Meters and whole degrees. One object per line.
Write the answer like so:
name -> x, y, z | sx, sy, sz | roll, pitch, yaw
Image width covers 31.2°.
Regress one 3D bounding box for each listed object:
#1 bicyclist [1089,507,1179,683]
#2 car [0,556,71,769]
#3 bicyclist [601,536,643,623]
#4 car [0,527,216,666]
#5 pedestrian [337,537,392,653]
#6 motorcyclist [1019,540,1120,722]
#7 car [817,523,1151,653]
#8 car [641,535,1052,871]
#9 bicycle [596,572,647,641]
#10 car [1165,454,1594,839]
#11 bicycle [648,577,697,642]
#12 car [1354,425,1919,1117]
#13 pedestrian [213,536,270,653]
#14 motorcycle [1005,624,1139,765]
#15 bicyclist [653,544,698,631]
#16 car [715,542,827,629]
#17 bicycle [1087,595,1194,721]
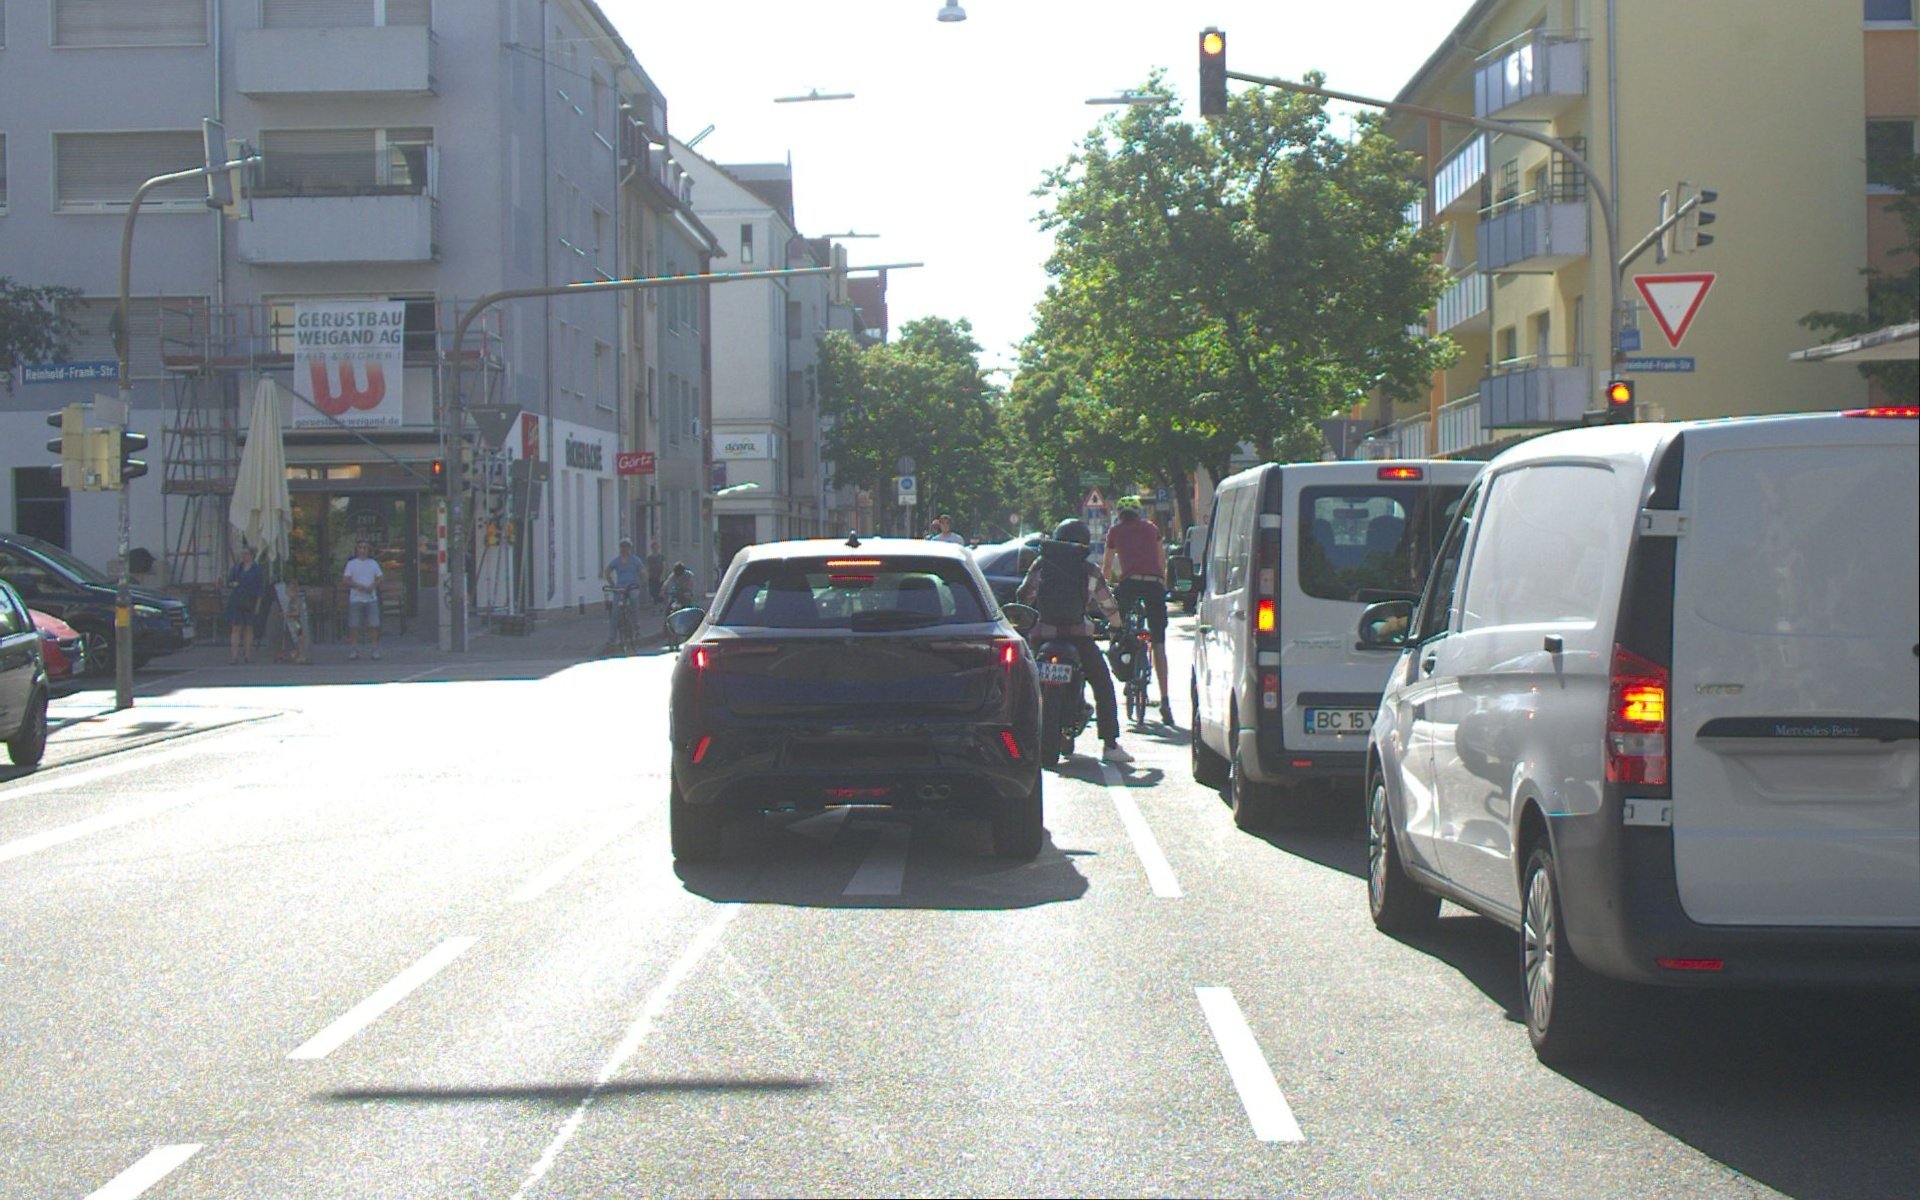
bicyclist -> 1.458, -0.049, 28.867 | 0.683, 1.444, 0.940 | -1, 1, -1
car -> -7.552, 0.432, 24.026 | 1.653, 1.474, 4.000 | 1, 1, -1
bicyclist -> -5.414, -0.333, 55.078 | 0.545, 1.377, 0.521 | 1, 0, 9
car -> -11.148, -0.046, 41.593 | 3.986, 1.620, 1.544 | -1, 1, -3
pedestrian -> -8.590, -0.080, 49.600 | 0.683, 1.658, 0.601 | -1, 1, -1
motorcyclist -> 0.745, 0.206, 23.523 | 0.658, 1.223, 0.694 | 1, 0, 1
car -> 0.326, -0.186, 45.769 | 3.987, 1.634, 2.000 | -1, 1, -32
car -> -0.536, 0.432, 17.565 | 1.844, 1.502, 4.000 | -1, 1, -1
bicycle -> -5.413, 0.105, 54.976 | 0.564, 1.081, 1.103 | 0, 1, 8
car -> 2.245, 0.194, 19.576 | 1.815, 1.914, 4.644 | -1, 1, -1
bicycle -> -4.590, 0.145, 54.876 | 0.535, 1.002, 1.110 | -1, 1, 8
car -> 2.551, 0.412, 11.294 | 1.984, 1.816, 4.547 | 0, 1, 0
pedestrian -> -10.229, -0.081, 48.952 | 0.683, 1.658, 0.601 | -1, 1, -1
motorcycle -> 0.748, 0.626, 23.496 | 0.807, 0.860, 1.823 | 2, 1, -1
bicyclist -> -4.553, -0.200, 55.077 | 0.570, 1.365, 0.583 | -1, 0, 8
car -> -3.127, -0.258, 57.454 | 1.618, 1.393, 3.731 | -1, 1, 1
bicycle -> 1.495, 0.470, 28.752 | 0.775, 0.989, 1.717 | -1, 1, -1
